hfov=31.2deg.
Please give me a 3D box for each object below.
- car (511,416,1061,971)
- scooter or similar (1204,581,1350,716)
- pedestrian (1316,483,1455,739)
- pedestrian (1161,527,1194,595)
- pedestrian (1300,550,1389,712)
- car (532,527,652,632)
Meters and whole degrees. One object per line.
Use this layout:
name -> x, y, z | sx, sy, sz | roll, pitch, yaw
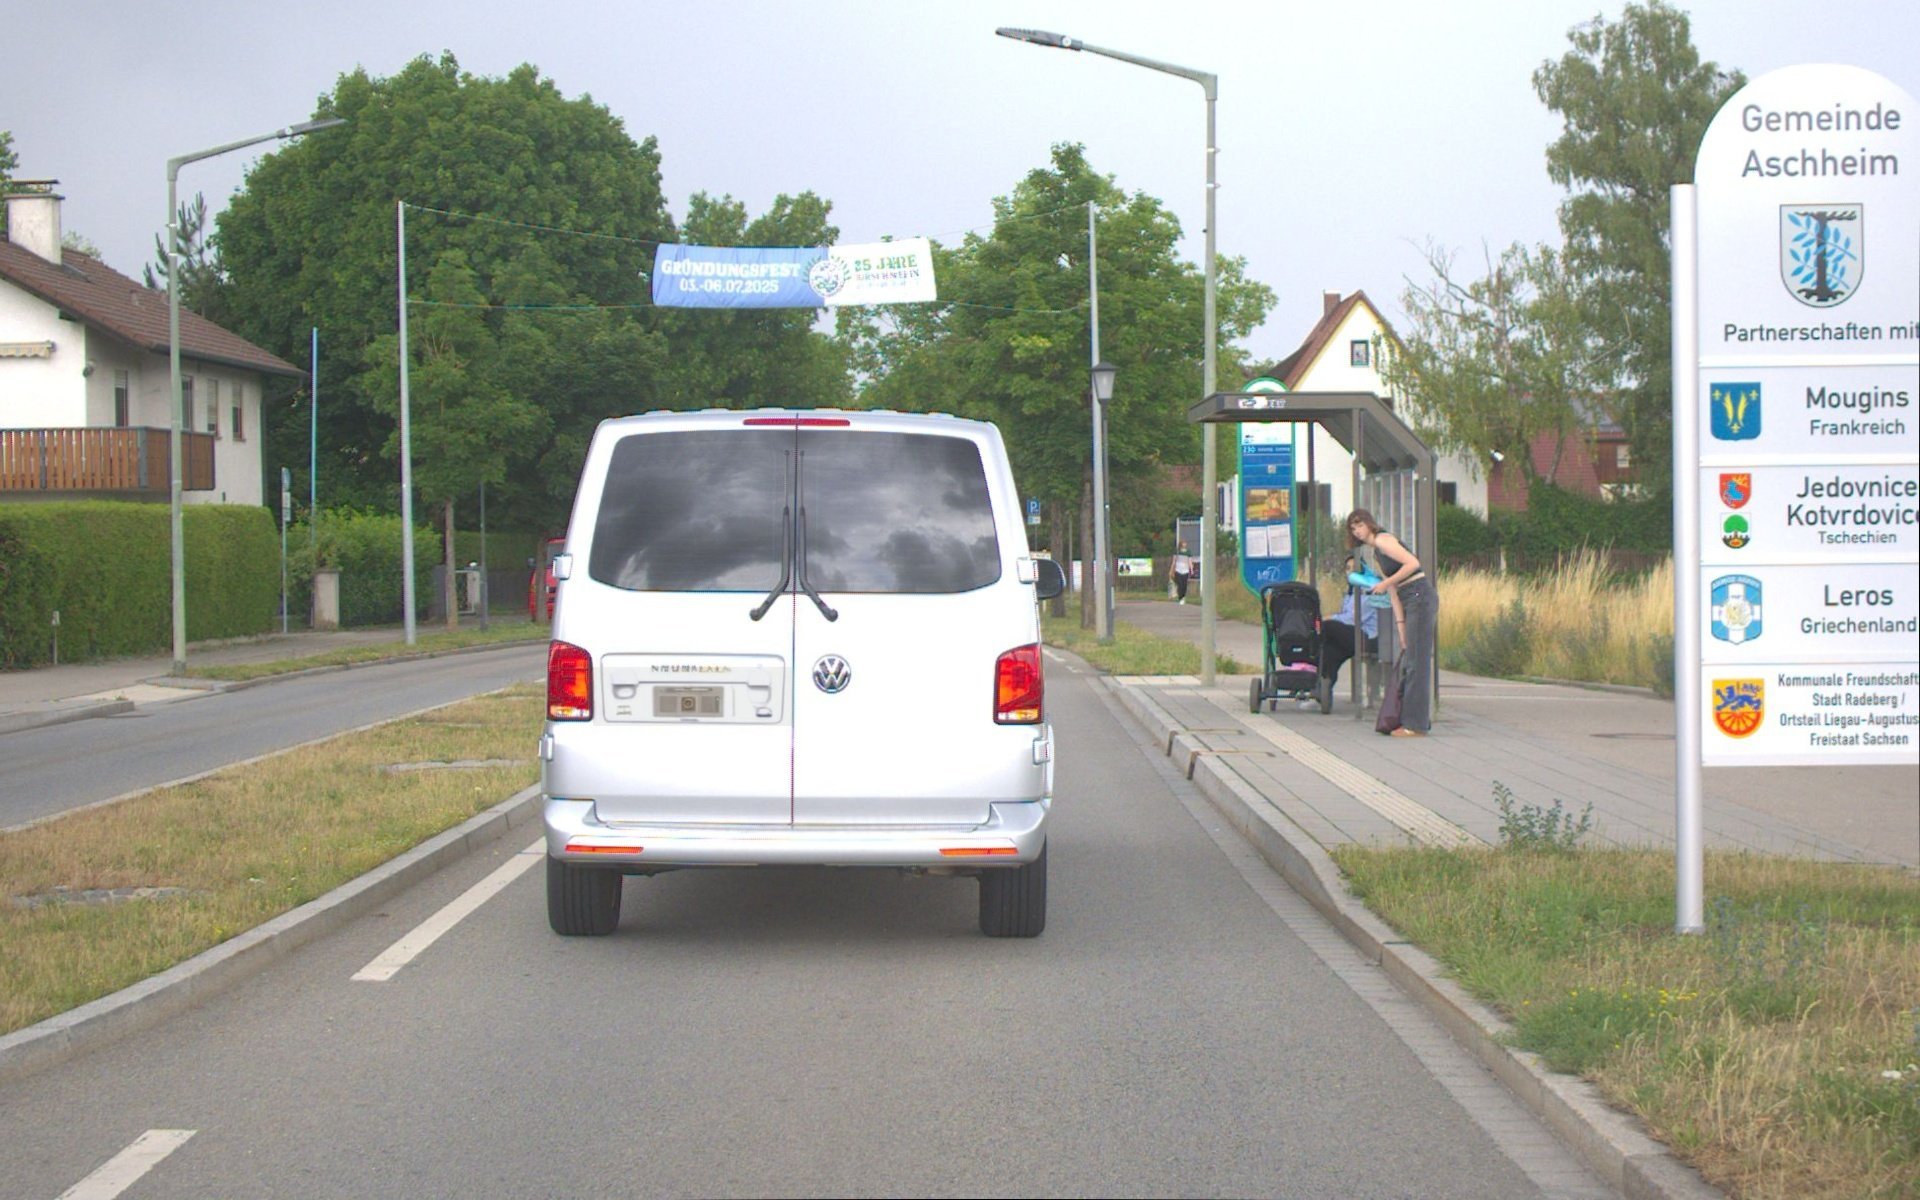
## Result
car -> -0.632, 0.307, 13.858 | 1.888, 1.905, 4.000 | 0, 0, -1
scooter or similar -> 2.559, 0.384, 27.742 | 0.708, 1.058, 1.058 | 1, 0, 37
pedestrian -> 3.050, 0.074, 24.619 | 0.782, 1.786, 0.778 | 2, 0, 21
pedestrian -> 5.622, -1.013, 88.995 | 0.837, 1.749, 0.869 | 0, 1, 4
pedestrian -> 3.154, 0.248, 28.160 | 0.665, 1.298, 0.505 | 2, 0, 9
car -> -7.443, -0.446, 69.881 | 1.830, 2.023, 5.046 | 1, 1, 0
